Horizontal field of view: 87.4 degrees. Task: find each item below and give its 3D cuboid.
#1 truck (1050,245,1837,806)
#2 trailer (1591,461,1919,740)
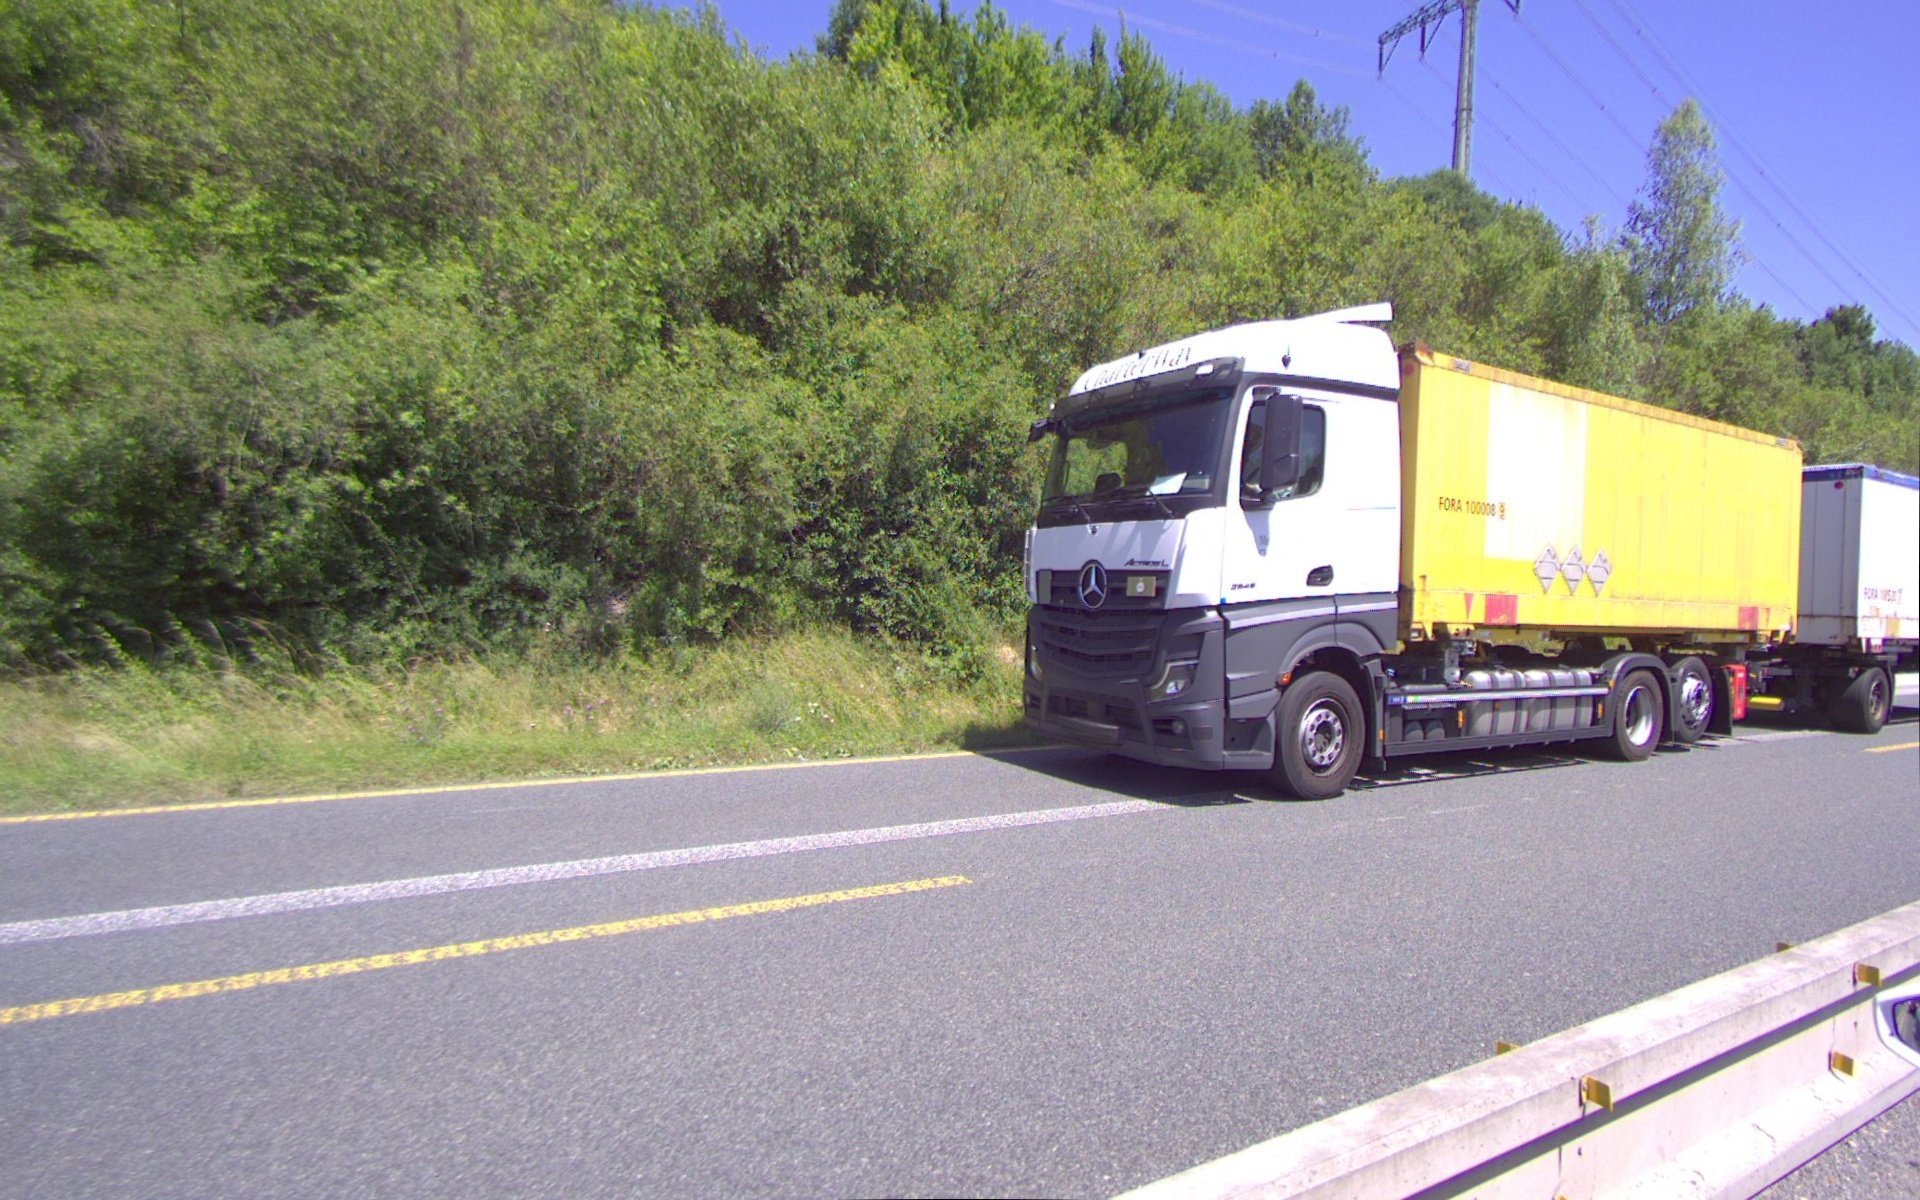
[{"bbox_3d":[5.686,-0.487,10.831,9.537,4.046,2.636,1,2,-31],"label":"truck"},{"bbox_3d":[13.608,0.037,15.529,8.814,3.381,2.637,1,2,-31],"label":"trailer"}]
